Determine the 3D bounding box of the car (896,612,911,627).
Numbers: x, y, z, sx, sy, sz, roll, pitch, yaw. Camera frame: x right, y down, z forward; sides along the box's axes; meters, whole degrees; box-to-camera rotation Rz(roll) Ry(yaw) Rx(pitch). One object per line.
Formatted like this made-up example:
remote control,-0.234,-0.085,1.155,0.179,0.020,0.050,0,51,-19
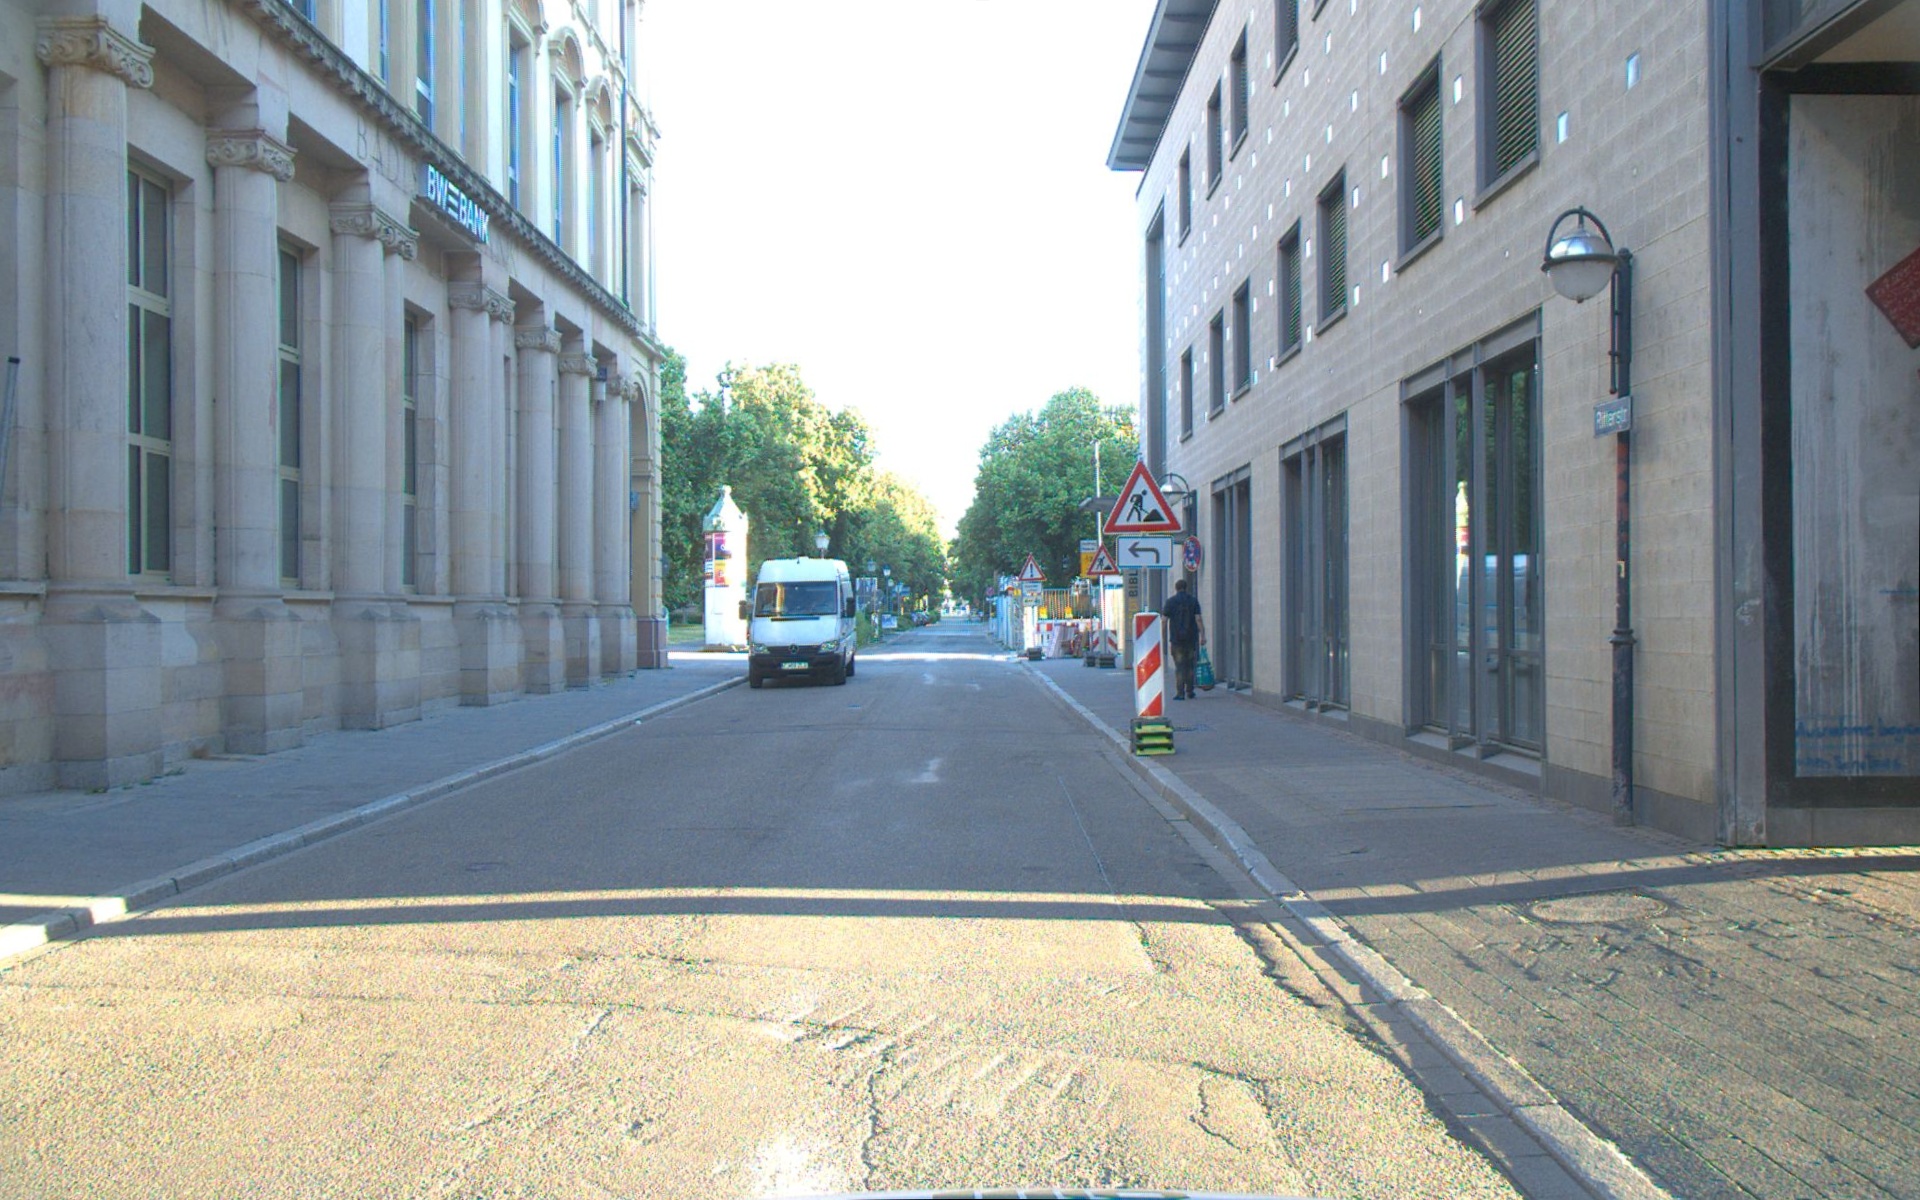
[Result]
car,-5.517,1.879,161.495,1.438,1.429,3.678,0,0,-1

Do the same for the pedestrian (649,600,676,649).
pedestrian,-10.808,0.890,60.089,0.730,1.732,0.703,-2,-1,7

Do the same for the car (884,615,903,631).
car,-5.420,1.916,135.706,1.438,1.278,3.678,0,0,-1

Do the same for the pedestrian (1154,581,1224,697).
pedestrian,3.510,0.586,25.376,0.904,1.732,0.868,-1,-1,-1

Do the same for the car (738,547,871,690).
car,-3.106,0.355,34.463,1.955,2.555,6.469,-4,0,0
